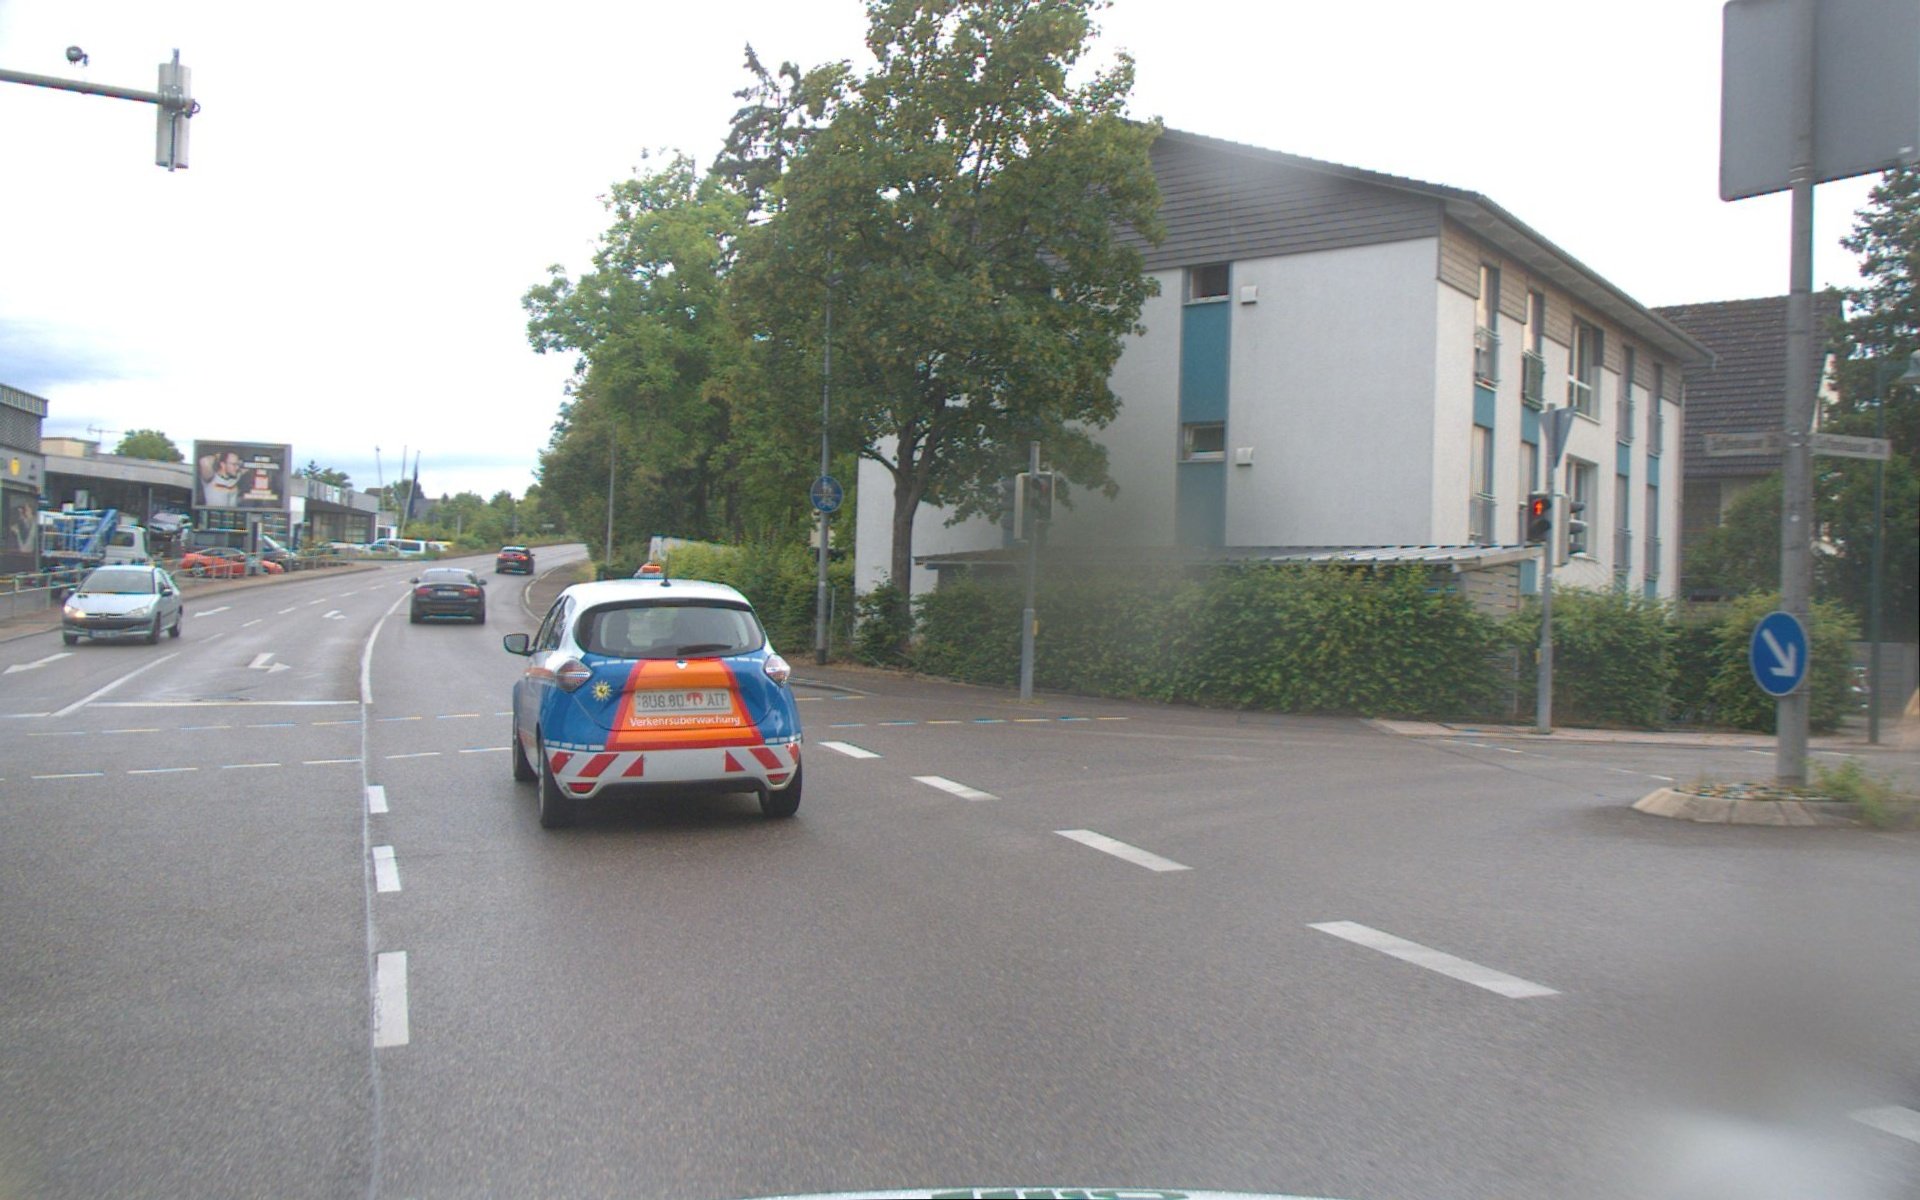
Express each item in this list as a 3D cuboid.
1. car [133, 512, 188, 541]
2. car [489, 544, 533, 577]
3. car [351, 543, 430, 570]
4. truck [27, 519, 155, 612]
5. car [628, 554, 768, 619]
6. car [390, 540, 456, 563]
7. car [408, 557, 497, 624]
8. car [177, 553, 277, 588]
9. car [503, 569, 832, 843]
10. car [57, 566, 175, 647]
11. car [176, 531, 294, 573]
[{"bbox_3d":[-47.293,-4.334,97.895,1.560,1.542,3.996,2,0,-5],"label":"car"},{"bbox_3d":[-24.367,-2.116,89.791,1.958,1.713,3.990,1,1,-11],"label":"car"},{"bbox_3d":[-38.673,-2.948,112.345,4.735,1.652,1.785,2,0,-44],"label":"car"},{"bbox_3d":[-25.986,-1.060,49.657,1.959,2.583,5.542,2,1,-13],"label":"truck"},{"bbox_3d":[-7.745,-0.407,48.806,3.918,1.753,1.994,1,1,-13],"label":"car"},{"bbox_3d":[-42.733,-3.838,131.667,4.735,1.652,1.785,2,0,-44],"label":"car"},{"bbox_3d":[-13.118,-0.285,42.955,1.960,1.601,3.985,1,1,-14],"label":"car"},{"bbox_3d":[-32.139,-1.281,72.537,3.939,1.400,1.799,2,0,-27],"label":"car"},{"bbox_3d":[-2.264,0.636,11.915,1.719,1.609,3.978,1,0,-19],"label":"car"},{"bbox_3d":[-16.426,0.089,32.342,1.563,1.428,3.686,1,1,-20],"label":"car"},{"bbox_3d":[-33.016,-2.168,75.470,4.683,1.652,1.805,2,0,-18],"label":"car"}]
